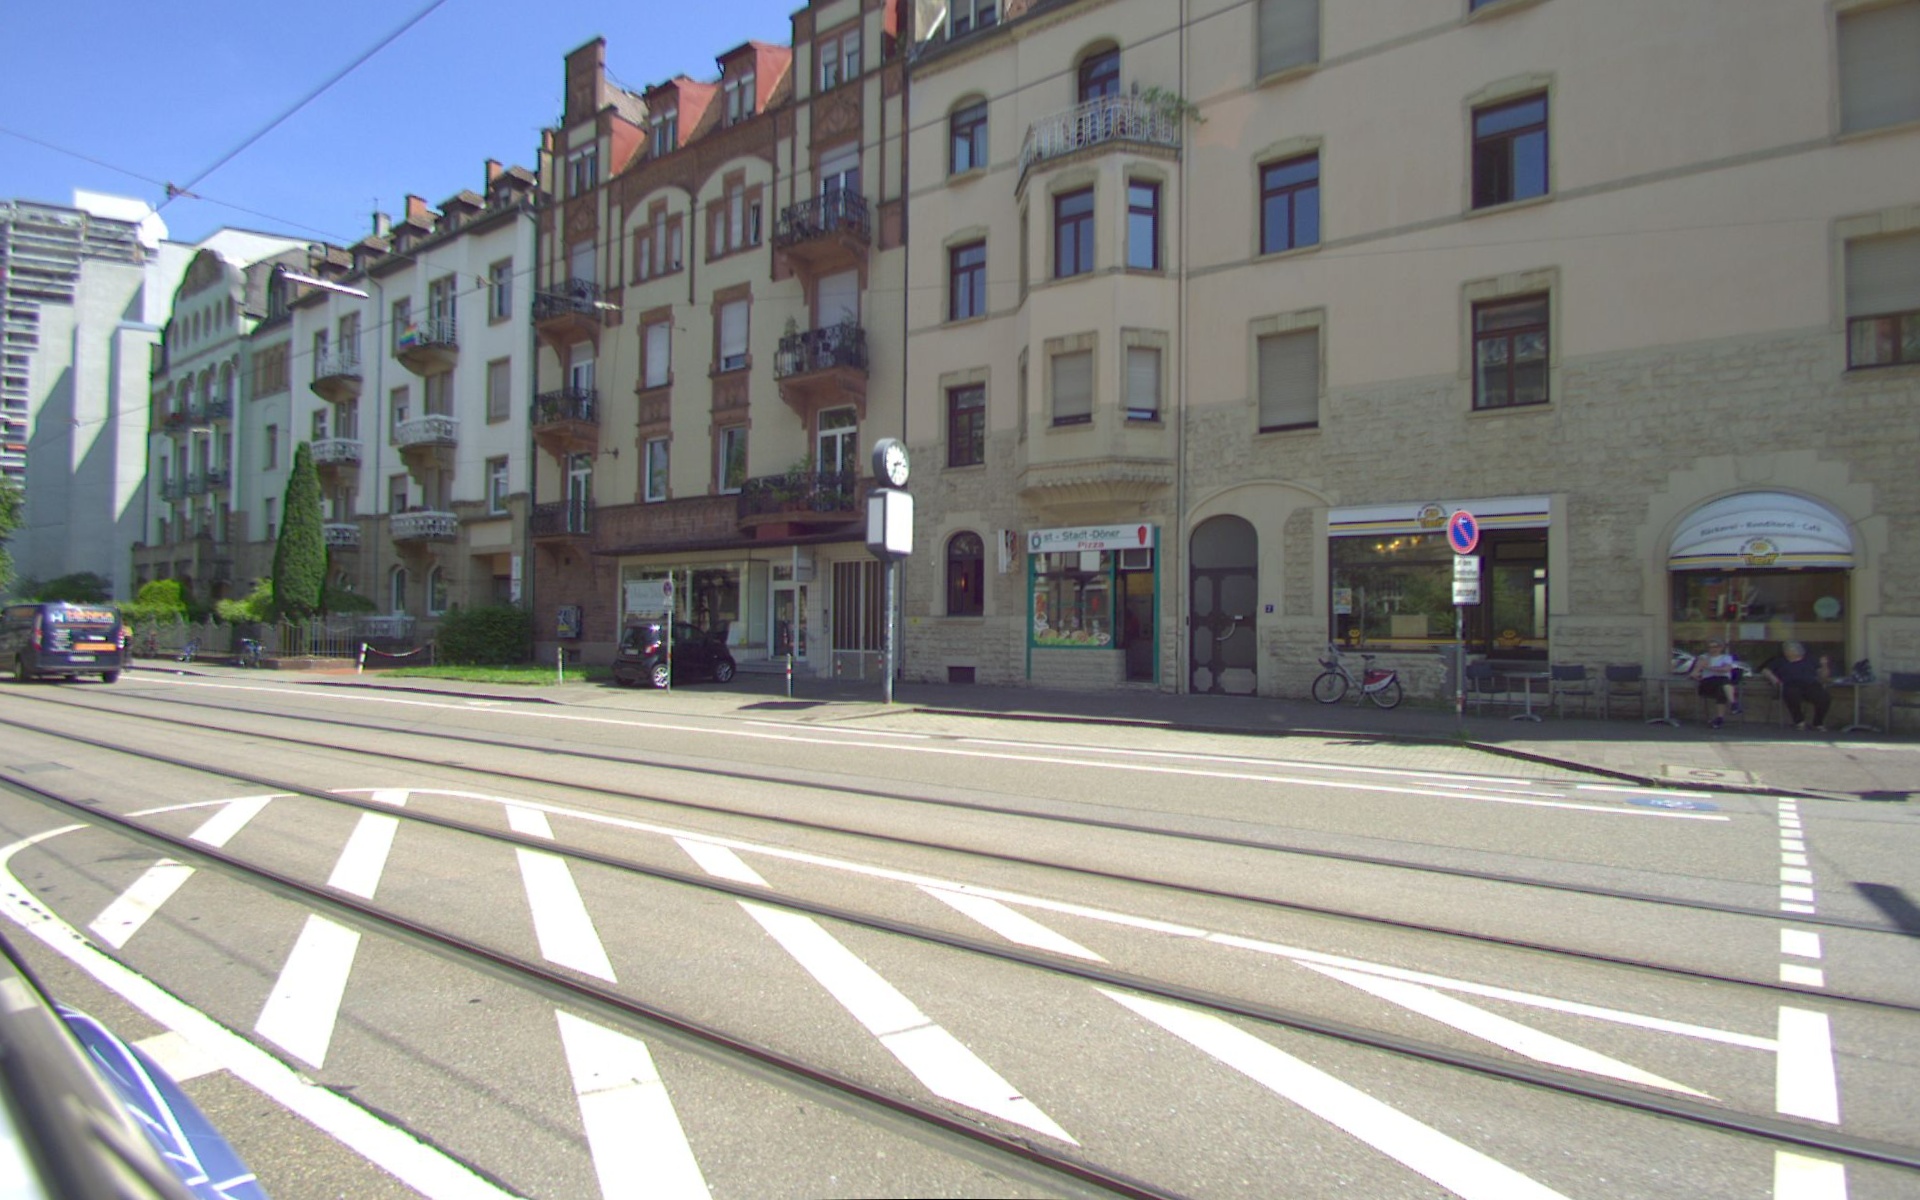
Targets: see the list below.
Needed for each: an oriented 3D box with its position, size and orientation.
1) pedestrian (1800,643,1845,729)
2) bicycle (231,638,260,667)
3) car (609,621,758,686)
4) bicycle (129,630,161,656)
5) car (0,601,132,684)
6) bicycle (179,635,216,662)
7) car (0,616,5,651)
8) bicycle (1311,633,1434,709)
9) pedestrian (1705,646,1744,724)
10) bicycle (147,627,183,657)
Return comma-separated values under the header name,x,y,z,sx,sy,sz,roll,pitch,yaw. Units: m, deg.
name,x,y,z,sx,sy,sz,roll,pitch,yaw
pedestrian,11.991,1.186,14.074,0.404,1.157,0.402,-1,-2,32
bicycle,-23.379,1.707,33.122,1.611,0.924,0.250,-2,-2,35
car,-6.790,1.283,25.068,1.528,1.483,3.320,-2,-2,39
bicycle,-31.813,1.674,39.495,2.042,0.978,0.396,-2,-2,35
car,-23.351,1.061,25.809,4.804,1.952,1.830,0,-4,31
bicycle,-26.895,1.699,35.693,1.950,0.956,0.458,-2,-2,35
car,-55.542,1.859,55.974,1.884,1.985,3.912,0,-1,-5
bicycle,7.177,1.201,17.726,0.448,1.234,2.085,1,-2,-35
pedestrian,11.183,1.234,14.808,0.404,1.097,0.352,-1,-2,32
bicycle,-30.018,1.565,38.188,2.042,1.105,0.488,-2,-2,35
